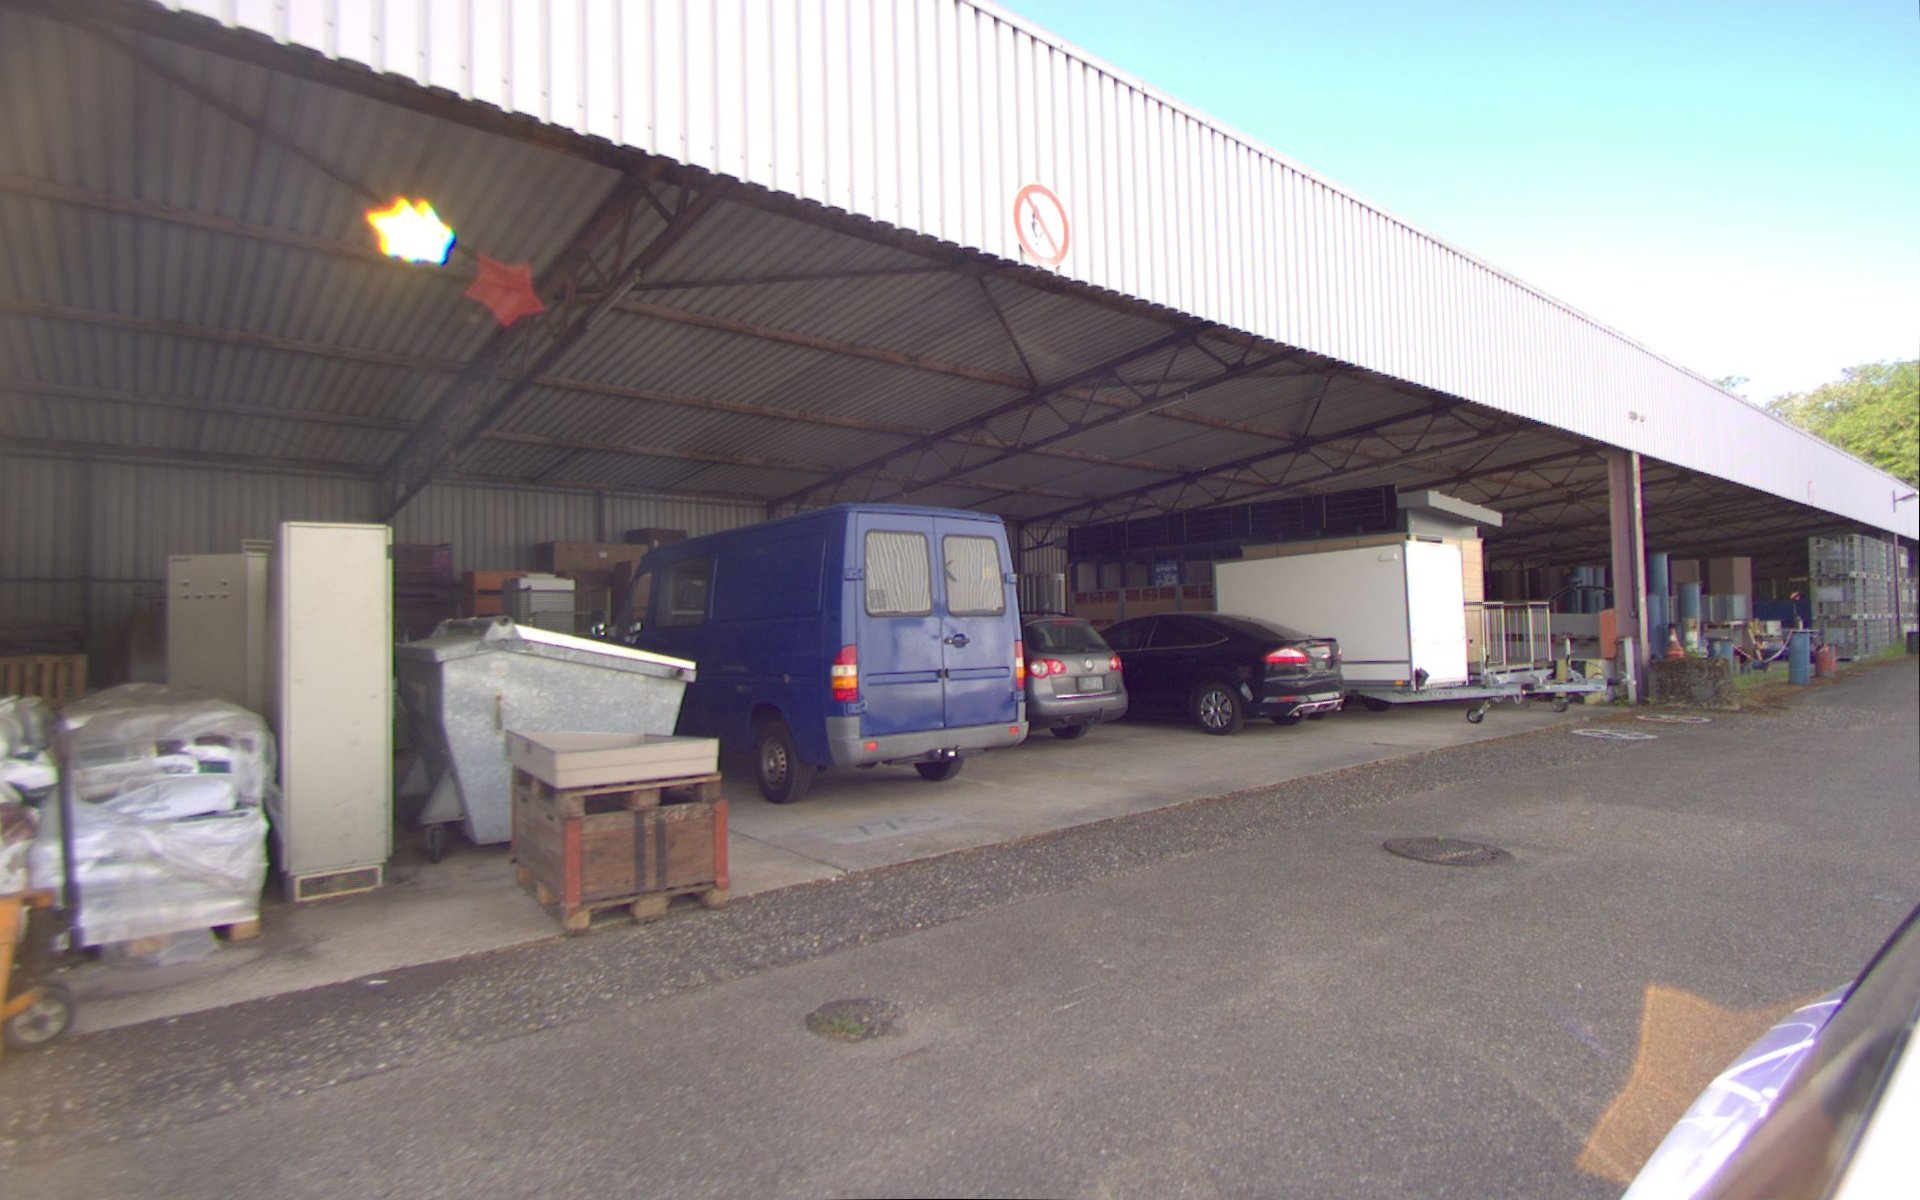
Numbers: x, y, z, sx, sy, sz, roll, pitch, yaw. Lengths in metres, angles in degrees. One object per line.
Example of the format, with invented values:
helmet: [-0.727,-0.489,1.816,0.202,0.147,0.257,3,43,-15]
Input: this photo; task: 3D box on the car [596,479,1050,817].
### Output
car: [-1.605,0.405,9.637,1.964,2.355,4.988,0,-2,-39]

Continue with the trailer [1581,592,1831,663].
trailer: [19.153,0.695,26.178,1.994,1.650,4.874,0,-2,-41]

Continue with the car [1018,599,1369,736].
car: [2.931,0.805,13.485,1.746,1.515,4.334,0,-2,-42]

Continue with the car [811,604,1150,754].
car: [0.102,0.836,12.139,1.759,1.491,3.989,0,-2,-44]

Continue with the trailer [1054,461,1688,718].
trailer: [6.200,-0.023,17.594,2.803,3.257,10.055,0,-2,-40]

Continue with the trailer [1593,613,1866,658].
trailer: [21.477,0.976,28.524,1.993,1.134,5.831,1,-2,-40]

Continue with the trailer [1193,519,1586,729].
trailer: [5.740,0.332,14.213,1.792,2.422,4.827,0,-2,-35]

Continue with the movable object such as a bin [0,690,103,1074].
movable object such as a bin: [-3.568,0.926,3.230,1.215,1.179,0.583,0,-2,-36]
